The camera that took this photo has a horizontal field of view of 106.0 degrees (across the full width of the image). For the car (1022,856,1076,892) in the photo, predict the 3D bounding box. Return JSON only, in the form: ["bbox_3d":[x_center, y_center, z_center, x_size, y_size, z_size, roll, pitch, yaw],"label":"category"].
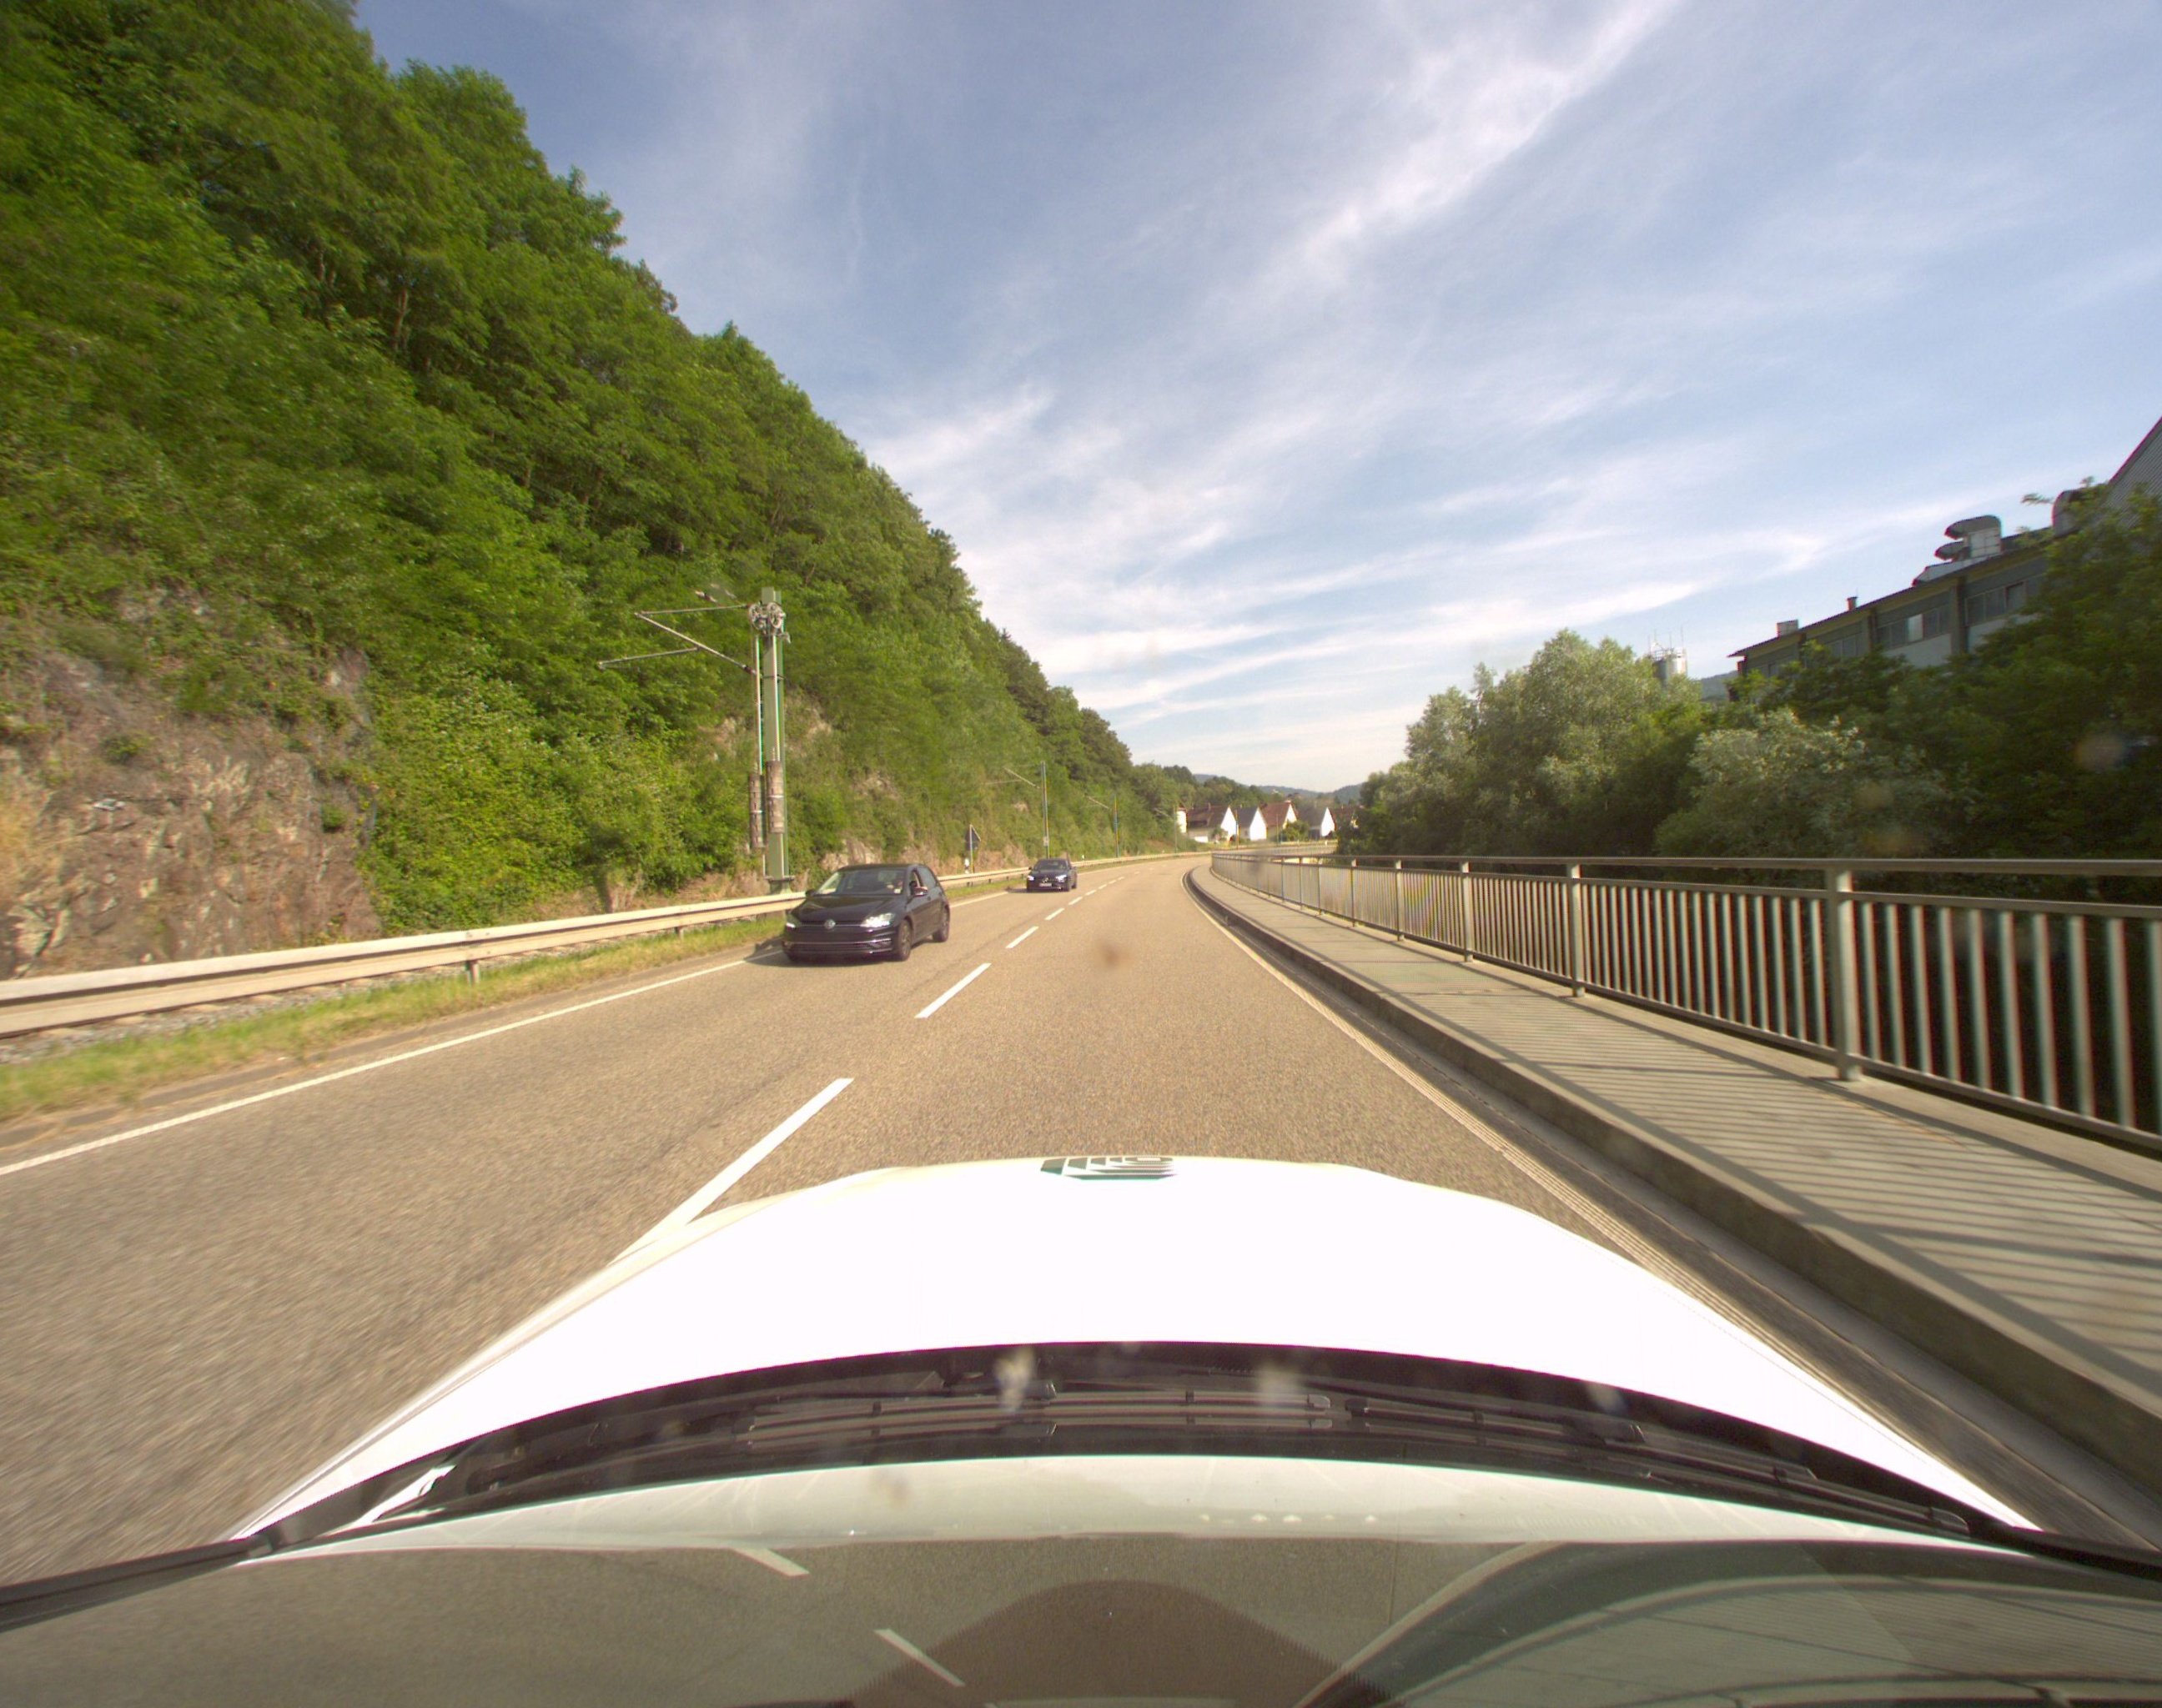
[{"bbox_3d":[-1.331,0.820,35.754,1.839,1.402,4.480,-2,0,3],"label":"car"}]

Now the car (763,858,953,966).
[{"bbox_3d":[-3.417,0.823,13.301,1.840,1.440,3.900,-1,0,2],"label":"car"}]
